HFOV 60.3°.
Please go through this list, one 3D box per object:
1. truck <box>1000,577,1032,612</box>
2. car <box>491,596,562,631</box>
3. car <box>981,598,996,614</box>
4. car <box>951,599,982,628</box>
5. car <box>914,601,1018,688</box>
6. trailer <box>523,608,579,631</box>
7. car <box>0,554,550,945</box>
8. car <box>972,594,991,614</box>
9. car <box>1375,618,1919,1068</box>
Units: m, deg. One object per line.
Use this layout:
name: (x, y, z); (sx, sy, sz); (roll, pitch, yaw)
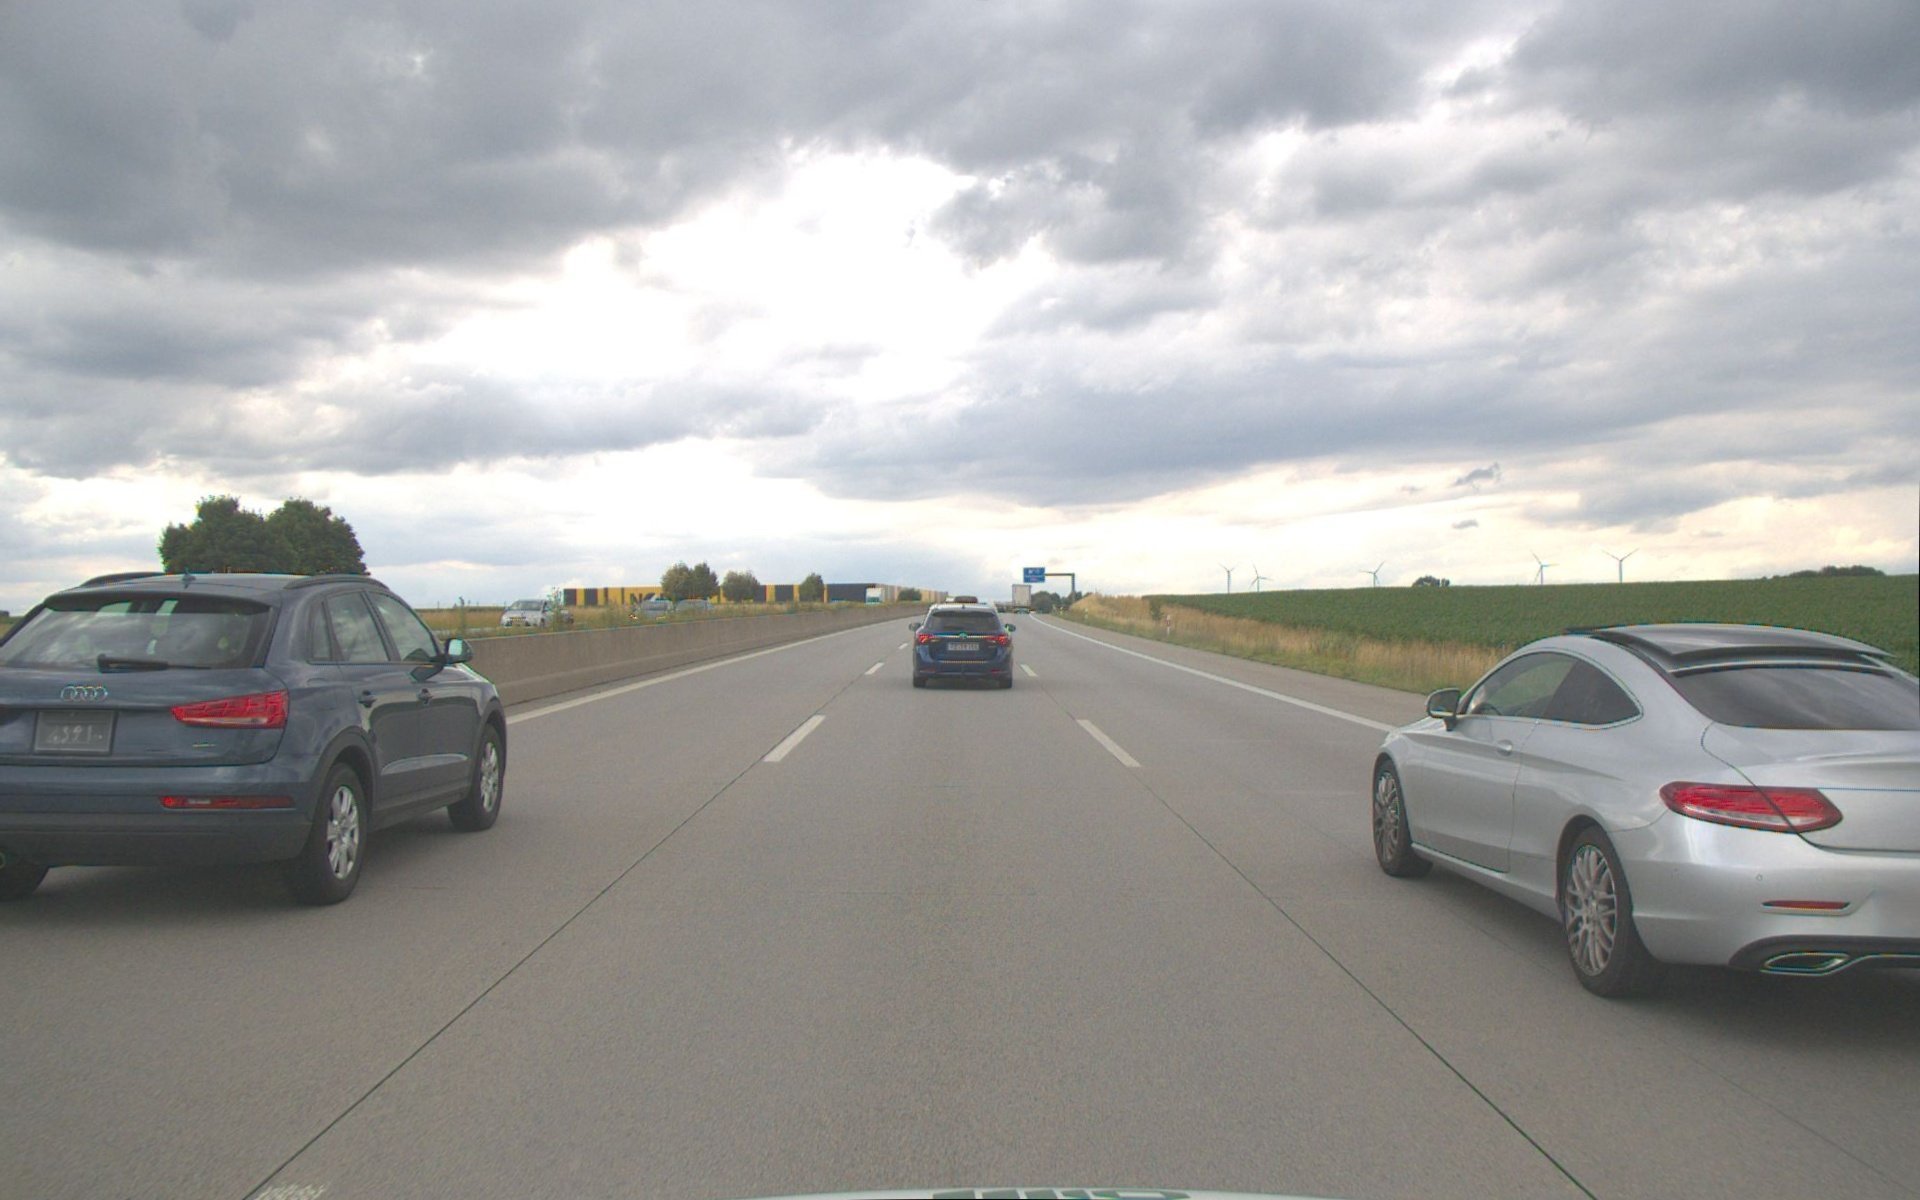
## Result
truck: (8.046, -0.690, 239.263); (3.870, 4.839, 12.071); (1, -1, -2)
car: (-19.353, 0.621, 74.012); (1.858, 1.496, 4.849); (1, -1, 0)
car: (3.977, 0.851, 230.798); (1.953, 2.049, 3.998); (1, -1, -2)
car: (0.472, 0.990, 119.197); (1.954, 2.049, 3.997); (1, -1, -3)
car: (0.048, 0.761, 29.738); (1.739, 1.438, 3.998); (1, 0, -2)
trailer: (-19.318, 0.922, 78.190); (1.750, 1.000, 3.563); (1, -1, 0)
car: (-3.748, 0.626, 9.493); (1.757, 1.624, 5.153); (1, 0, -3)
car: (2.296, 0.416, 180.957); (1.953, 2.049, 3.999); (2, 0, 0)
car: (3.335, 0.813, 7.474); (1.752, 1.428, 4.220); (1, 0, -2)
